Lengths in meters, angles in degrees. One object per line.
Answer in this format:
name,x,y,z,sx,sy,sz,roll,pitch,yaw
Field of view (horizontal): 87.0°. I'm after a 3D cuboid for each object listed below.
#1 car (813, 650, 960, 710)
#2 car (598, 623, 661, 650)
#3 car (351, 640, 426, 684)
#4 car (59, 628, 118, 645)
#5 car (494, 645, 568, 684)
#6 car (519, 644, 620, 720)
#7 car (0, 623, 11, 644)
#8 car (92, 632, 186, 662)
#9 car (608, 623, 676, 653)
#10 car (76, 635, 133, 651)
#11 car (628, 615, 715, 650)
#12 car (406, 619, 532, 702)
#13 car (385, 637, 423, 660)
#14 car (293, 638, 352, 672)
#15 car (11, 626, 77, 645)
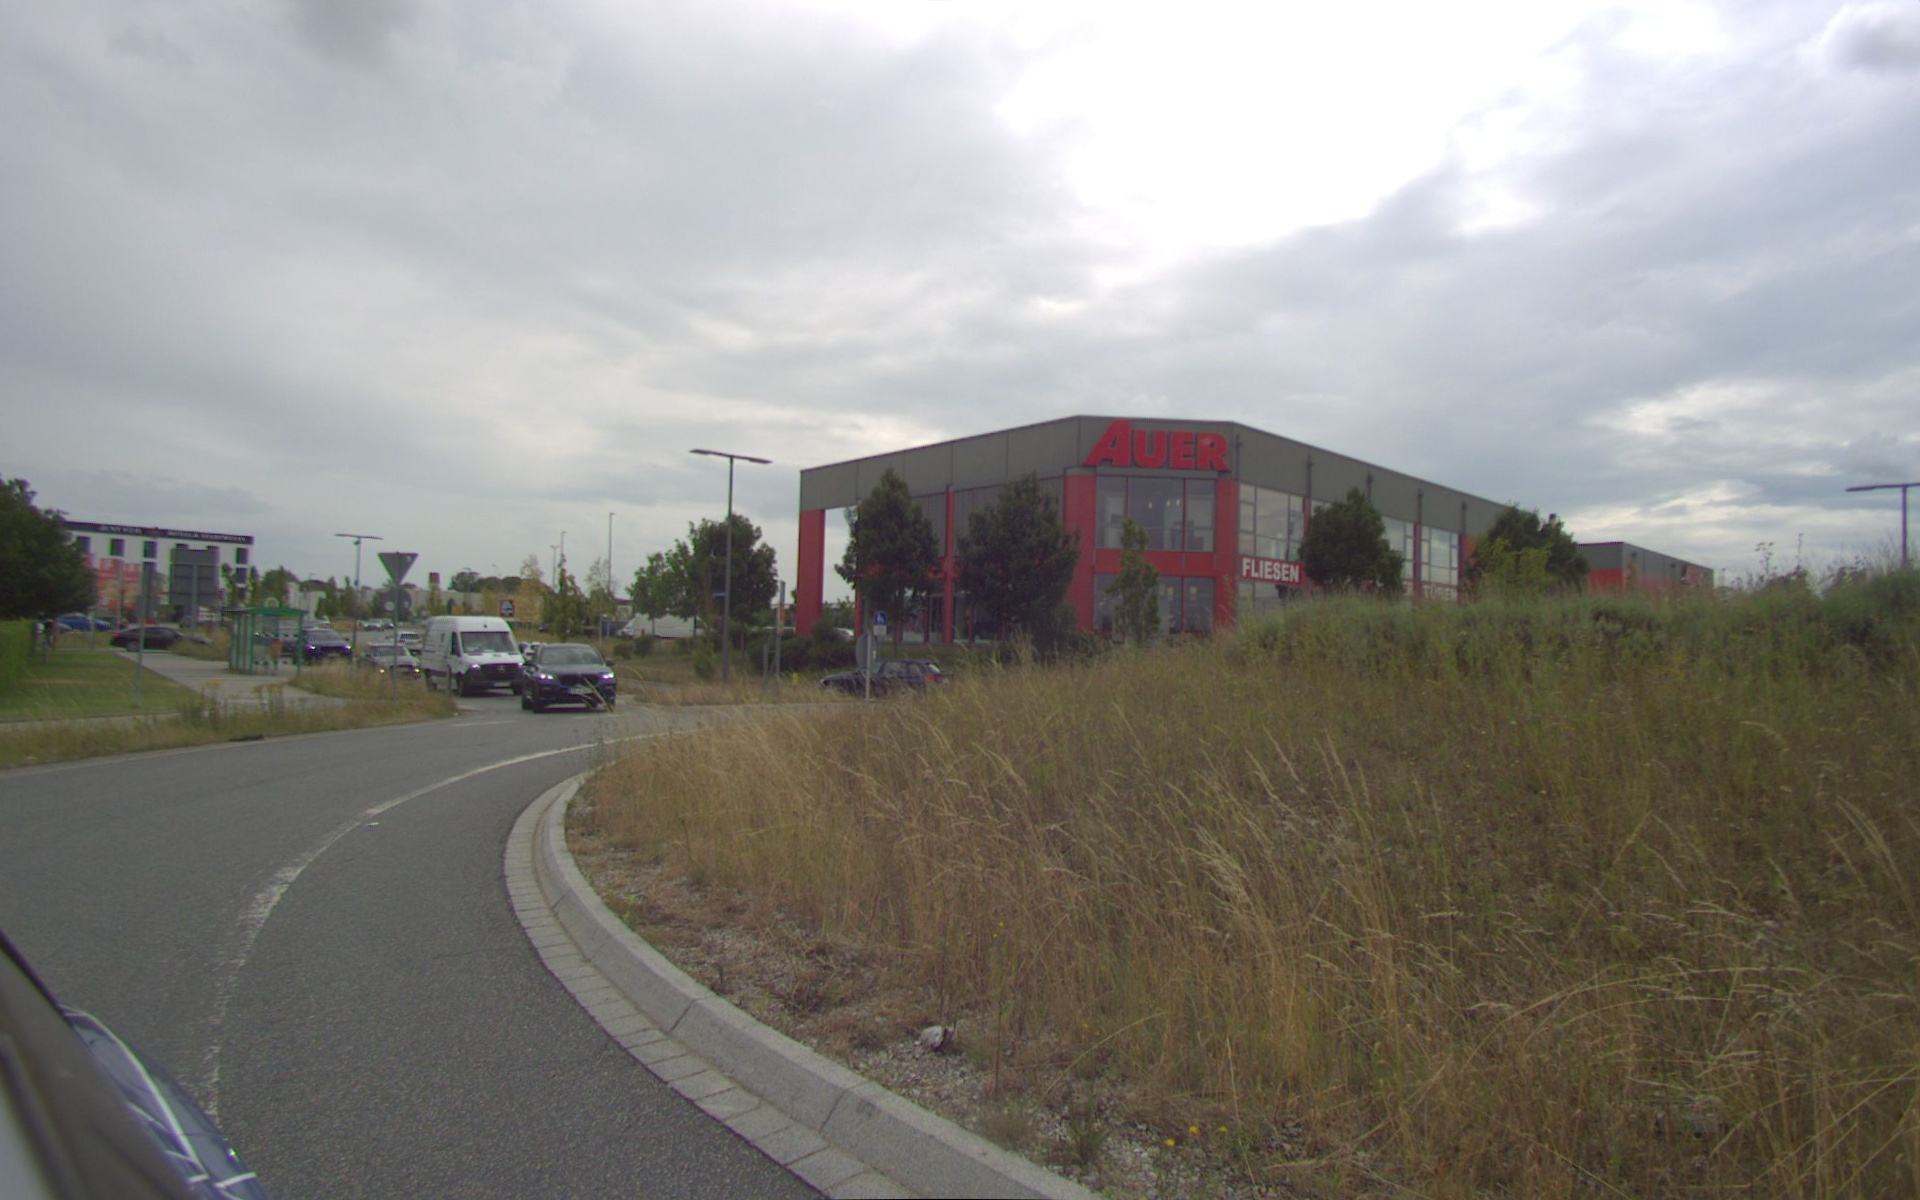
car,-2.354,2.493,32.333,4.275,1.620,1.982,0,-1,27
car,-29.755,3.279,91.256,4.974,2.240,2.069,3,-3,-36
car,-23.570,2.524,41.690,1.840,1.620,4.005,4,-3,-42
car,-83.225,3.486,96.680,3.930,1.497,1.853,1,-1,-26
car,-20.700,3.092,48.725,4.087,1.570,1.708,0,-7,44
car,-9.645,1.947,24.800,1.836,1.620,4.013,3,-3,-27
car,-72.734,2.405,74.476,3.933,1.534,1.852,3,-3,-35
car,-45.004,2.551,55.560,3.936,1.497,1.850,1,-1,-39
car,-26.345,3.151,84.014,4.980,2.391,2.067,1,-1,-43
car,-83.707,4.196,99.077,3.930,1.497,1.853,1,-1,-26
car,-22.828,2.589,80.348,6.317,2.644,2.068,1,-1,-39
car,-16.776,1.970,34.389,1.997,2.547,6.110,4,-3,-43
car,-36.698,3.188,66.698,1.699,1.419,4.655,4,-5,-34
car,-32.183,2.765,51.061,1.840,1.620,4.005,4,-3,-42
car,-79.736,3.091,88.143,3.931,1.497,1.853,3,-3,-31
